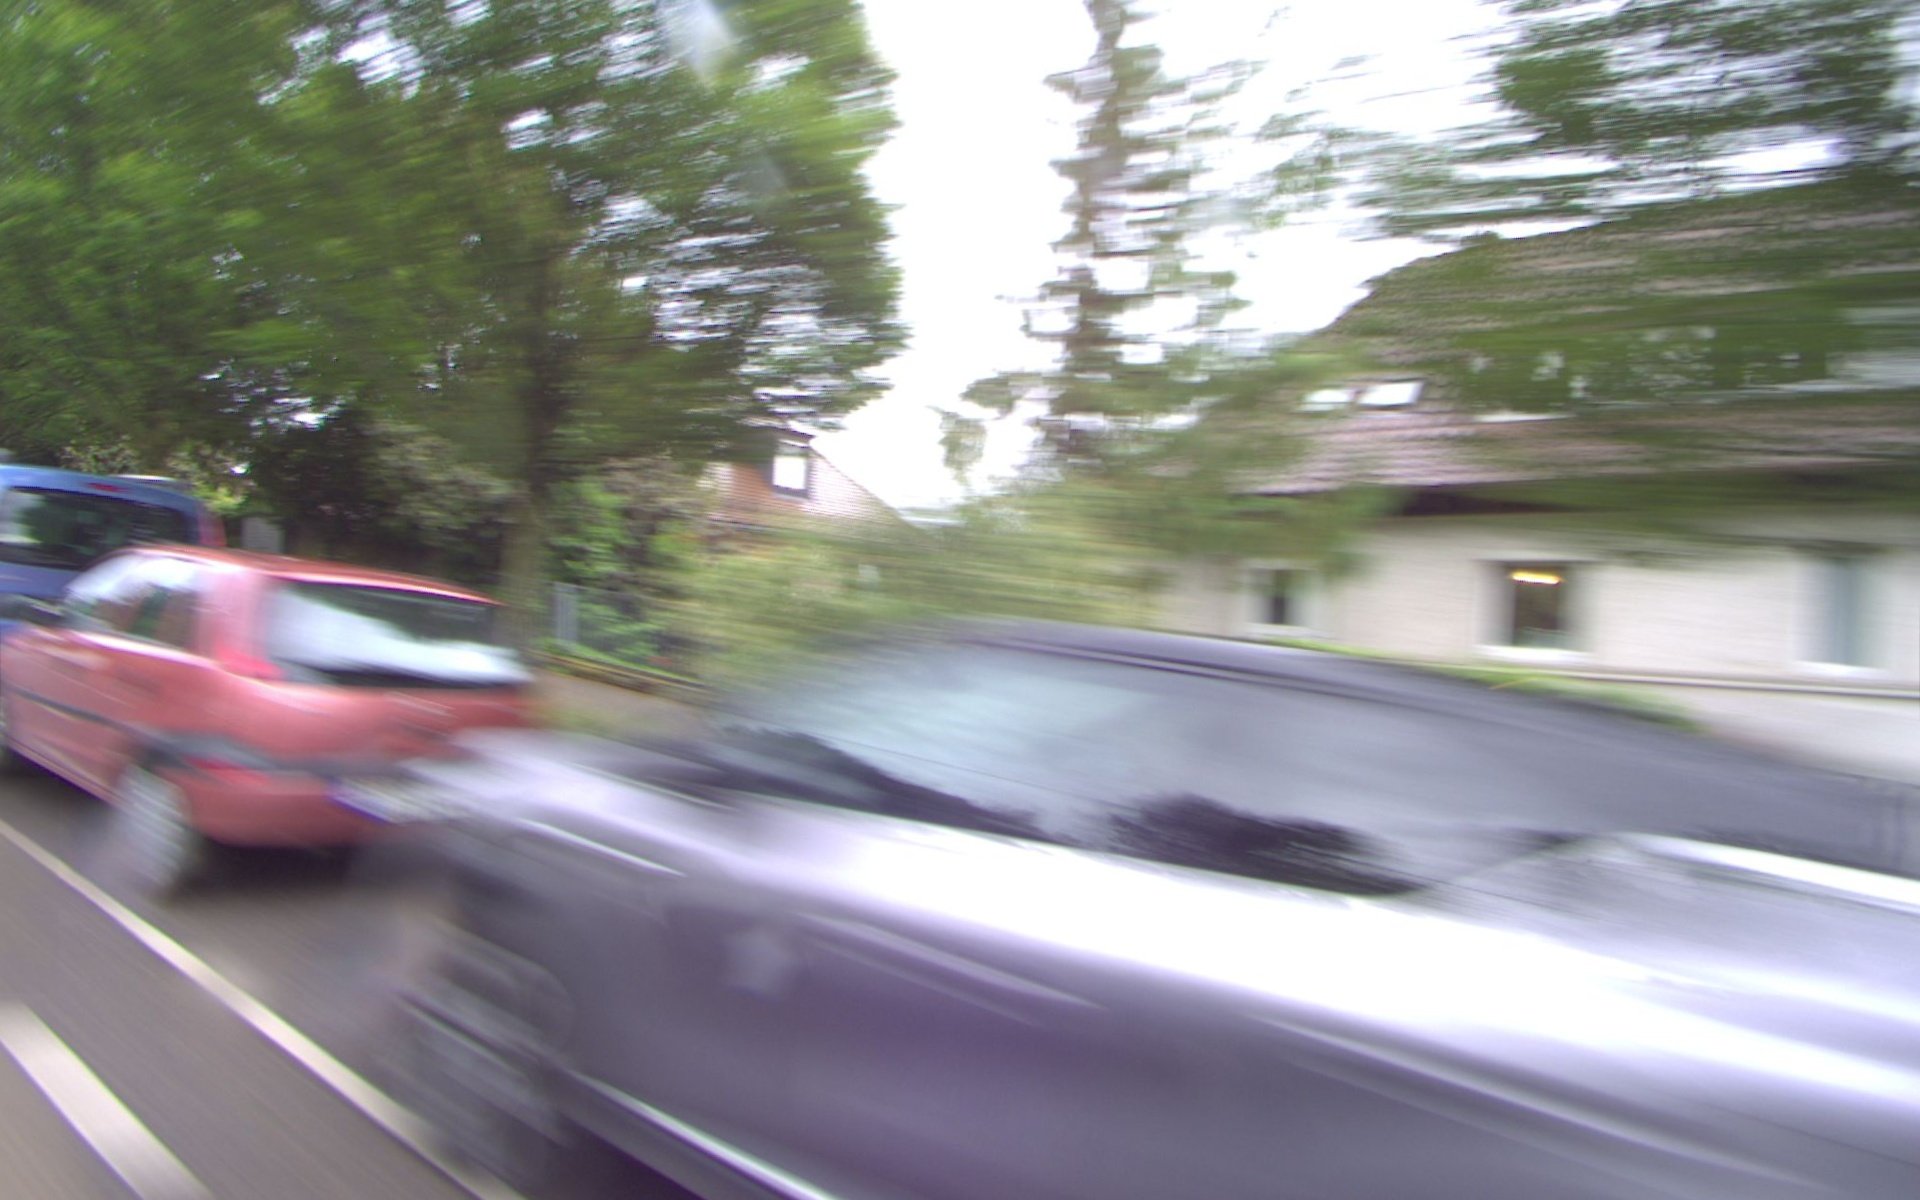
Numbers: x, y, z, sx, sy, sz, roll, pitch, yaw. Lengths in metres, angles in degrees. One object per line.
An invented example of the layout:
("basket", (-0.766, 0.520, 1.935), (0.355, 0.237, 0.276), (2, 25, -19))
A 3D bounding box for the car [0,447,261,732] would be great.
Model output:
("car", (-7.862, -0.204, 8.292), (4.353, 1.873, 1.781), (7, -2, 33))

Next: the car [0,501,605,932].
("car", (-3.942, 0.392, 5.485), (3.956, 1.498, 1.651), (6, -3, 35))

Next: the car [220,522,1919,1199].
("car", (0.044, 0.835, 2.655), (4.096, 1.573, 1.718), (6, -3, 33))

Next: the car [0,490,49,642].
("car", (-12.447, -0.619, 11.482), (4.153, 1.628, 1.787), (6, -1, 31))
